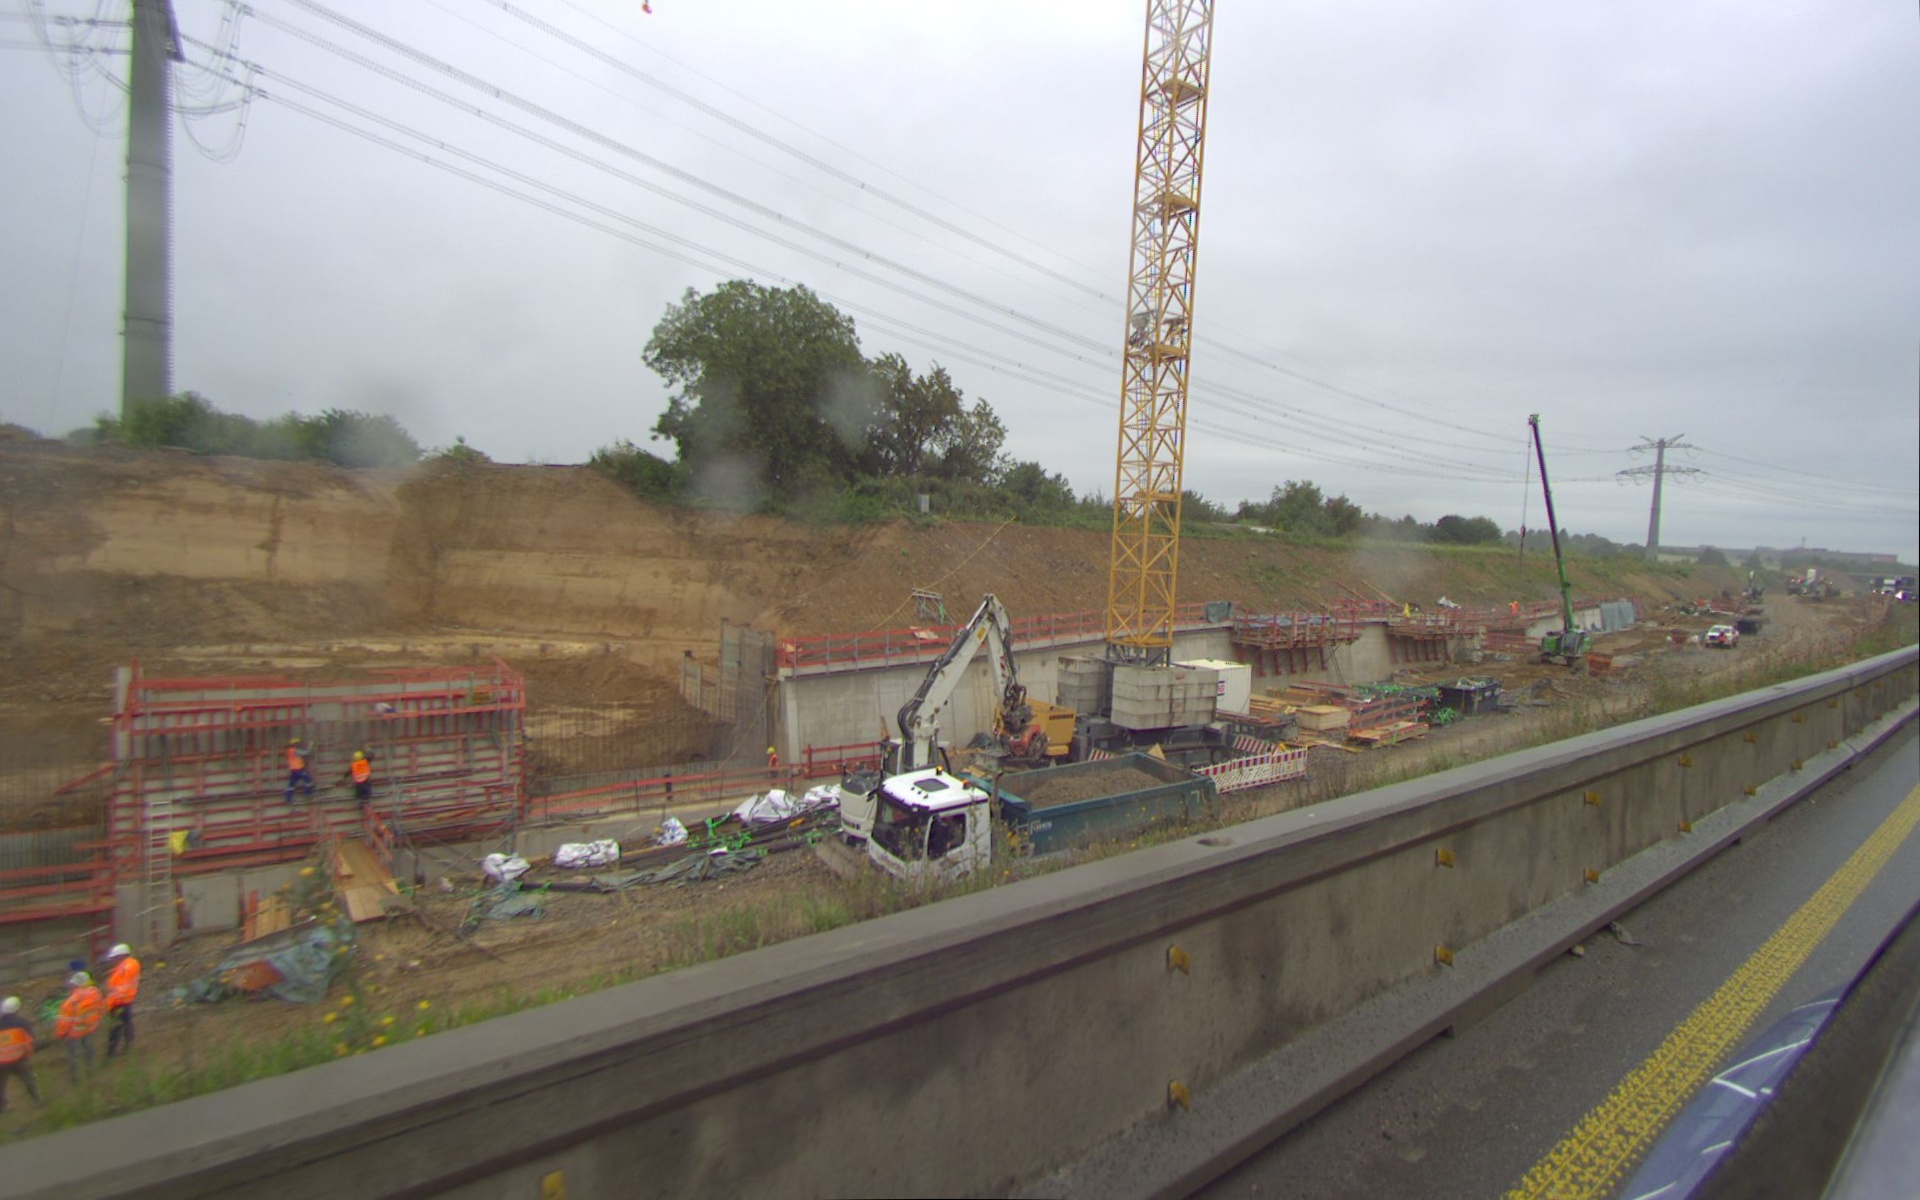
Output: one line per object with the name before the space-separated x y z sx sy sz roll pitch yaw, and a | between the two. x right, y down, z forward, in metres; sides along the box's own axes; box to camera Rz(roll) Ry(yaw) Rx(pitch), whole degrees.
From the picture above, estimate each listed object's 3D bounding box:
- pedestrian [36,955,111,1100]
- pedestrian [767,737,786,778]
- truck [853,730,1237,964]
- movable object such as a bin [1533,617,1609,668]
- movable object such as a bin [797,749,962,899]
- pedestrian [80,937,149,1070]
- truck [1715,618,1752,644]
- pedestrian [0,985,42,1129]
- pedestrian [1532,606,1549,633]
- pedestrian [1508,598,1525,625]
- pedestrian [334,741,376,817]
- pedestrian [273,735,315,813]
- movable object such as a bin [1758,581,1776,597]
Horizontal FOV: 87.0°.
pedestrian | -14.404 6.919 16.458 0.568 1.968 0.730 0 1 21
pedestrian | -6.725 5.774 37.107 0.392 1.455 0.424 -1 -8 -38
truck | 2.130 5.279 23.210 8.768 3.547 2.711 -1 1 -29
movable object such as a bin | 44.231 3.005 73.230 3.793 2.836 4.783 2 7 44
movable object such as a bin | -2.079 5.554 25.805 2.917 2.772 3.155 -1 1 -41
pedestrian | -14.488 6.899 17.360 0.564 1.968 0.736 0 1 -3
truck | 66.150 2.616 86.566 1.763 1.894 5.694 4 4 44
pedestrian | -14.650 7.039 15.548 0.721 1.893 0.575 -1 1 -34
pedestrian | 51.884 1.743 90.423 0.989 2.260 0.916 -2 -2 -41
pedestrian | 48.663 0.980 88.500 0.914 2.275 0.991 -5 -2 41
pedestrian | -17.380 5.133 29.053 0.882 2.027 0.904 -2 -9 -36
pedestrian | -18.545 4.843 28.187 0.882 2.027 0.904 -2 -9 -36
movable object such as a bin | 145.135 -2.031 182.012 2.244 2.753 3.941 0 1 41
